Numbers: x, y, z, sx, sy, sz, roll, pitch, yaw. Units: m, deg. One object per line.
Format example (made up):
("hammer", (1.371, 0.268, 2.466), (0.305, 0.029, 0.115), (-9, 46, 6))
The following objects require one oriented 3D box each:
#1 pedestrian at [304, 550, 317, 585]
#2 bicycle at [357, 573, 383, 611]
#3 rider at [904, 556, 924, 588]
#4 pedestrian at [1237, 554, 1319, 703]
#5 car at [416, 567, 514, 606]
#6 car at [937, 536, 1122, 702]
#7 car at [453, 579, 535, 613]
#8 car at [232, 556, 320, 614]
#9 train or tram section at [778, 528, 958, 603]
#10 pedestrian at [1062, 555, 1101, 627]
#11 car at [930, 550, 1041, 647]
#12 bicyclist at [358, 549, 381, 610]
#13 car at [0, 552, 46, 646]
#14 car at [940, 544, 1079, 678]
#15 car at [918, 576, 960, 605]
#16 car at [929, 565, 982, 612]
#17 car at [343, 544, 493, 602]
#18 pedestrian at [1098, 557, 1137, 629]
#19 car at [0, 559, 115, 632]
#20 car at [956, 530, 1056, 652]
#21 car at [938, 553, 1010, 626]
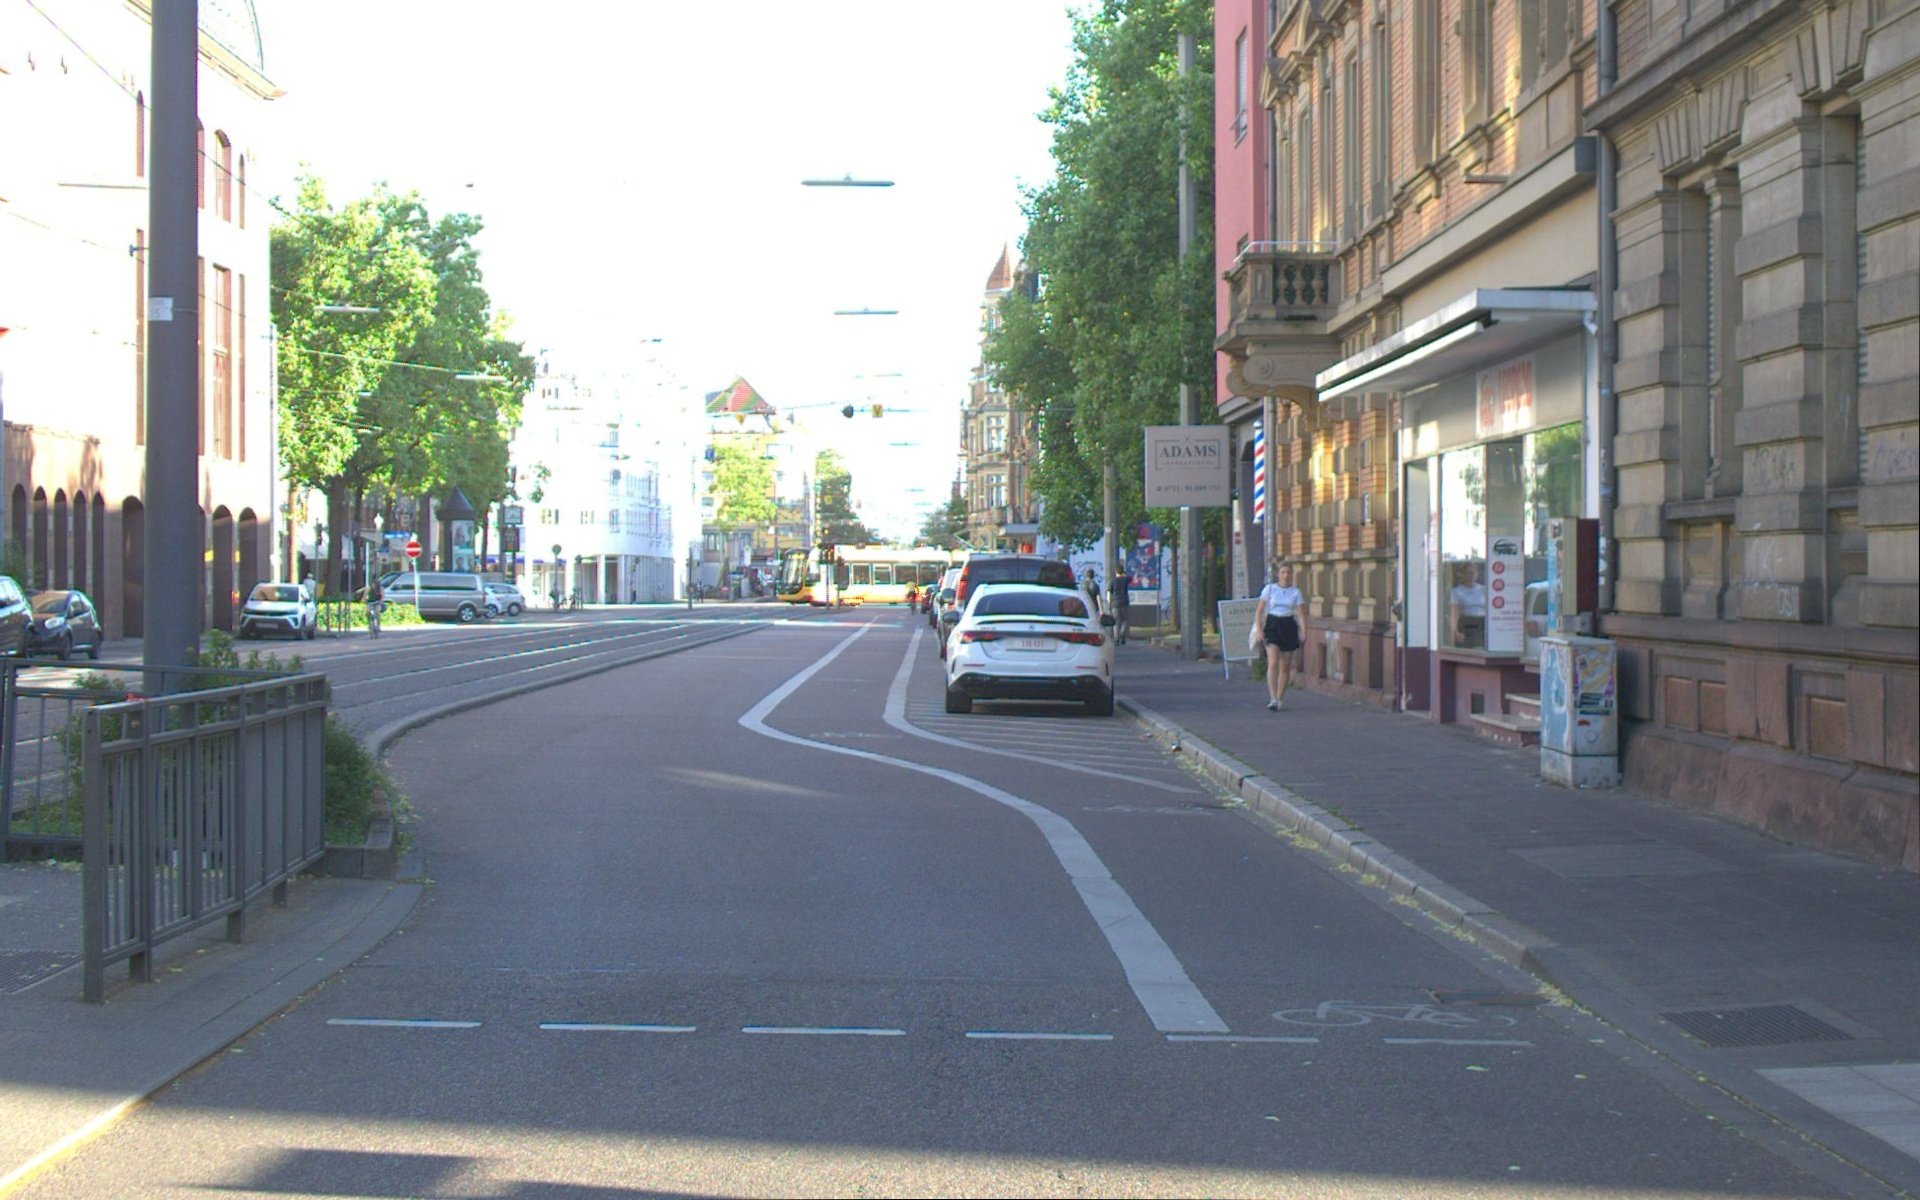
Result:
("pedestrian", (-24.967, -1.247, 132.163), (0.362, 1.339, 0.483), (3, 0, -21))
("bicycle", (-16.848, -0.226, 98.181), (0.582, 1.074, 2.186), (-2, 0, -7))
("rider", (-2.181, -1.323, 163.888), (0.883, 1.476, 0.713), (2, 0, 0))
("pedestrian", (3.457, 0.303, 37.436), (0.776, 1.561, 0.913), (-3, 0, 2))
("car", (-22.298, -0.608, 154.930), (3.868, 1.622, 1.876), (2, 0, -31))
("car", (0.768, 0.193, 40.004), (1.966, 1.765, 4.875), (2, 0, 0))
("car", (-22.388, -0.185, 165.275), (3.519, 1.476, 1.582), (2, 0, -32))
("car", (-19.406, -0.442, 97.630), (1.869, 1.594, 4.255), (1, 1, -3))
("train or tram section", (-5.420, -2.039, 205.245), (2.699, 3.946, 12.057), (3, 0, 45))
("pedestrian", (2.713, -0.202, 76.750), (0.776, 1.561, 0.914), (-3, 0, 1))
("car", (0.467, -0.037, 68.034), (1.949, 1.782, 5.182), (2, 0, -2))
("bicyclist", (-16.889, -0.586, 98.395), (0.571, 1.706, 0.746), (-2, 0, -7))
("car", (-18.558, -0.048, 63.609), (2.090, 1.707, 4.819), (2, 0, -2))
("car", (0.737, 0.132, 51.927), (1.955, 1.862, 4.989), (2, 0, 1))
("car", (-1.101, -0.482, 176.029), (2.065, 1.384, 4.225), (3, 0, -1))
("car", (-0.158, -0.406, 116.452), (1.723, 1.562, 4.083), (0, 0, -1))
("car", (-21.367, -1.044, 135.654), (5.252, 2.036, 2.419), (3, -1, -32))
("pedestrian", (3.517, -0.162, 76.765), (0.776, 1.561, 0.914), (-3, 0, 1))
("car", (-18.936, -0.097, 71.122), (1.869, 1.445, 3.583), (1, 0, 2))
("car", (0.865, -0.154, 62.653), (1.705, 2.112, 3.706), (1, 0, 2))
("car", (0.403, -0.305, 97.686), (1.971, 2.007, 4.558), (-1, 0, 0))
